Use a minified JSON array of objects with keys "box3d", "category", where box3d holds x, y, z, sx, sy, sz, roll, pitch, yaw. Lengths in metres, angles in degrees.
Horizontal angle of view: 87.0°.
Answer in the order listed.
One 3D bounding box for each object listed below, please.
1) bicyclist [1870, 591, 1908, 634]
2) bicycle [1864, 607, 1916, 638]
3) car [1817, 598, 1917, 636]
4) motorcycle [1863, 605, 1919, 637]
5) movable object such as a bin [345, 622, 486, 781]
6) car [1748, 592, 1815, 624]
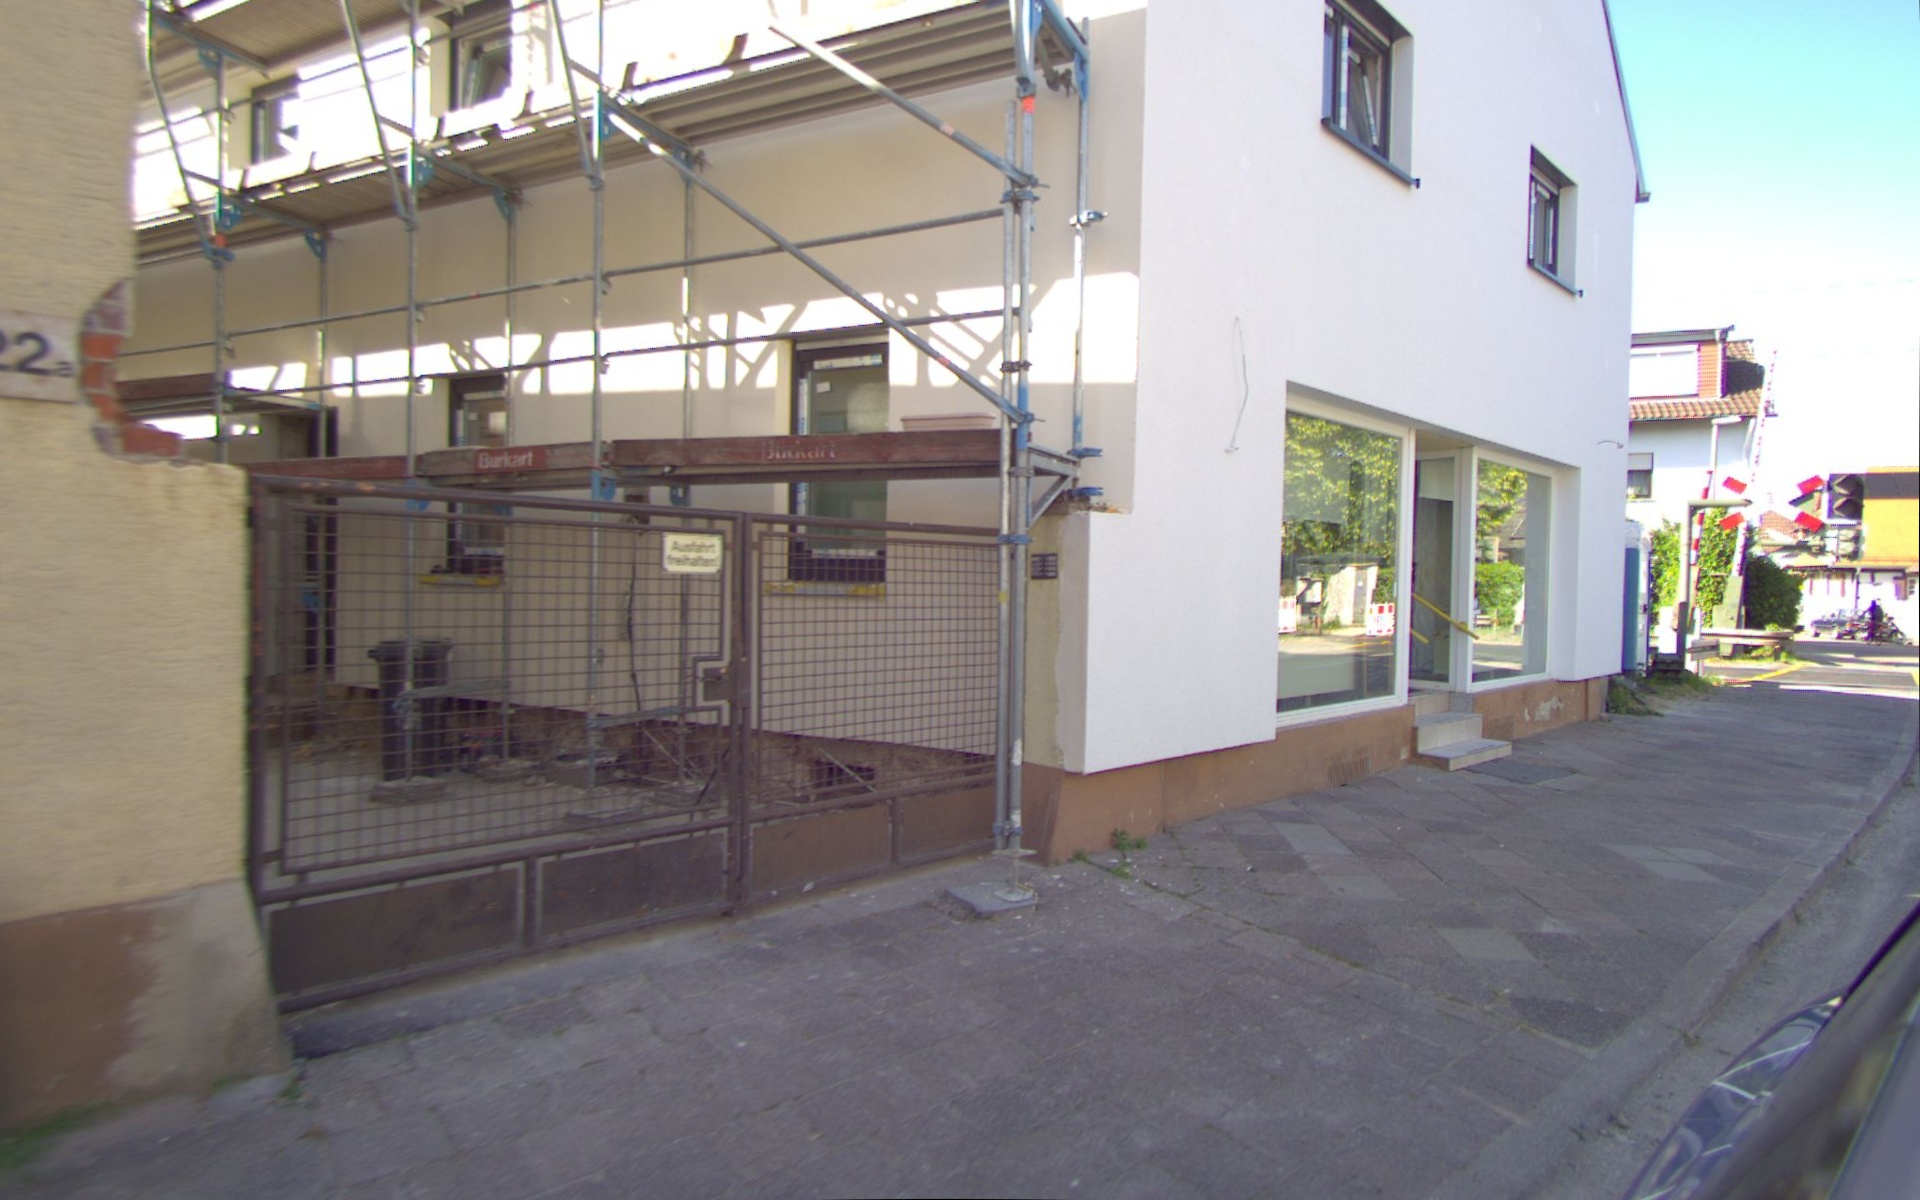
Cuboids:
[{"box3d":[35.264,0.472,38.420,0.844,1.560,0.864,2,2,30],"category":"bicyclist"},{"box3d":[35.299,0.845,38.461,0.877,1.017,2.045,1,2,26],"category":"bicycle"},{"box3d":[40.361,0.711,45.168,1.831,1.423,4.994,3,2,25],"category":"car"},{"box3d":[38.941,0.868,42.088,0.613,1.247,1.999,2,1,-21],"category":"motorcycle"},{"box3d":[-3.678,0.657,6.858,0.567,0.966,0.631,2,2,26],"category":"movable object such as a bin"},{"box3d":[44.941,0.414,55.480,1.771,1.624,4.324,2,1,25],"category":"car"}]
